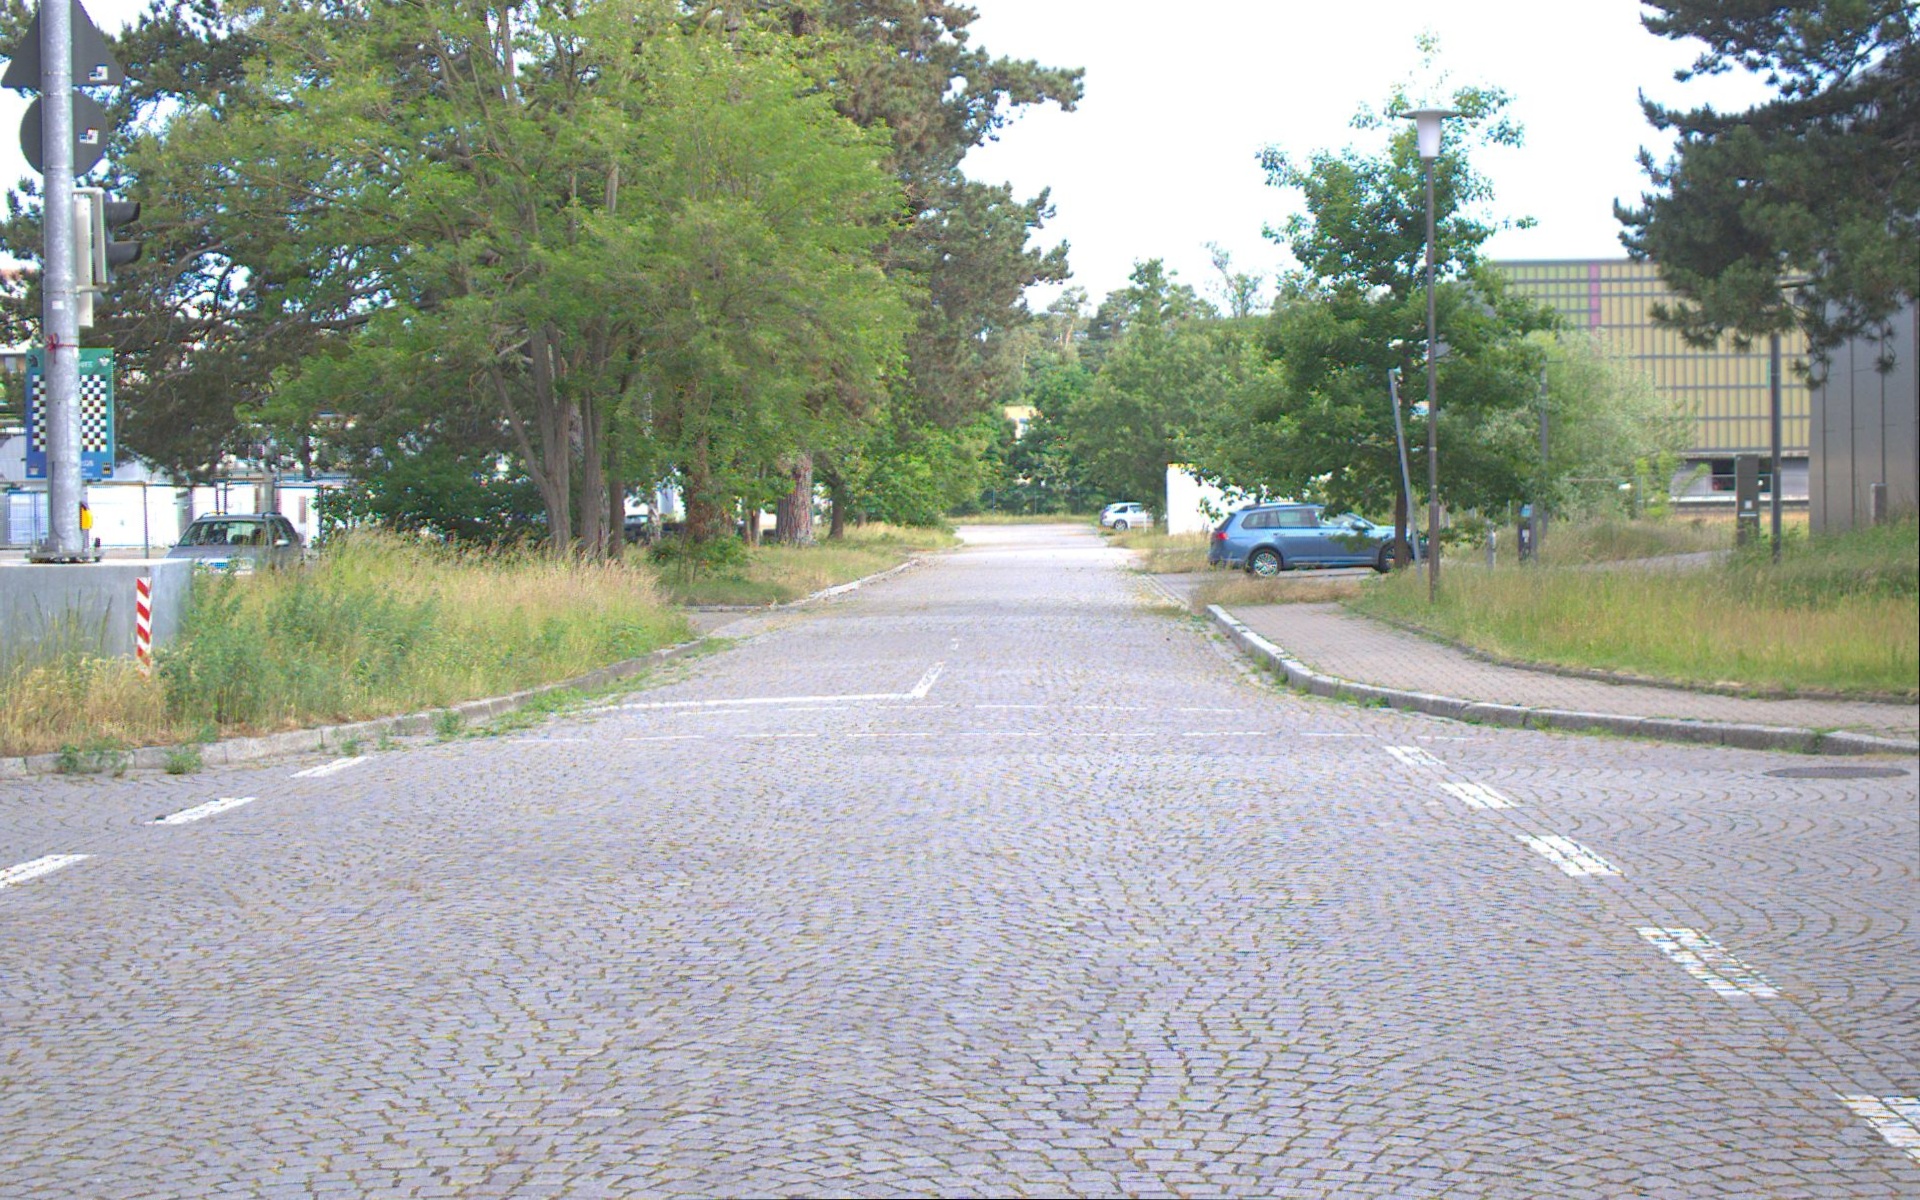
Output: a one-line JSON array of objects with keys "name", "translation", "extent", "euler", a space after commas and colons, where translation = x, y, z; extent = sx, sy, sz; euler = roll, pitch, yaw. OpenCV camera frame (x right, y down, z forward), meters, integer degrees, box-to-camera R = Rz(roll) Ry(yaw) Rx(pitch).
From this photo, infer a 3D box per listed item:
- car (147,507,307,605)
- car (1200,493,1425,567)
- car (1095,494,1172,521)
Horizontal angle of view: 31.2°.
[{"name": "car", "translation": [-11.794, -0.734, 55.523], "extent": [1.613, 1.482, 4.000], "euler": [-1, 2, 2]}, {"name": "car", "translation": [7.119, -1.421, 69.738], "extent": [4.344, 1.417, 2.000], "euler": [-1, 2, 0]}, {"name": "car", "translation": [9.426, -5.033, 186.760], "extent": [3.986, 1.393, 2.000], "euler": [-1, 2, -4]}]
